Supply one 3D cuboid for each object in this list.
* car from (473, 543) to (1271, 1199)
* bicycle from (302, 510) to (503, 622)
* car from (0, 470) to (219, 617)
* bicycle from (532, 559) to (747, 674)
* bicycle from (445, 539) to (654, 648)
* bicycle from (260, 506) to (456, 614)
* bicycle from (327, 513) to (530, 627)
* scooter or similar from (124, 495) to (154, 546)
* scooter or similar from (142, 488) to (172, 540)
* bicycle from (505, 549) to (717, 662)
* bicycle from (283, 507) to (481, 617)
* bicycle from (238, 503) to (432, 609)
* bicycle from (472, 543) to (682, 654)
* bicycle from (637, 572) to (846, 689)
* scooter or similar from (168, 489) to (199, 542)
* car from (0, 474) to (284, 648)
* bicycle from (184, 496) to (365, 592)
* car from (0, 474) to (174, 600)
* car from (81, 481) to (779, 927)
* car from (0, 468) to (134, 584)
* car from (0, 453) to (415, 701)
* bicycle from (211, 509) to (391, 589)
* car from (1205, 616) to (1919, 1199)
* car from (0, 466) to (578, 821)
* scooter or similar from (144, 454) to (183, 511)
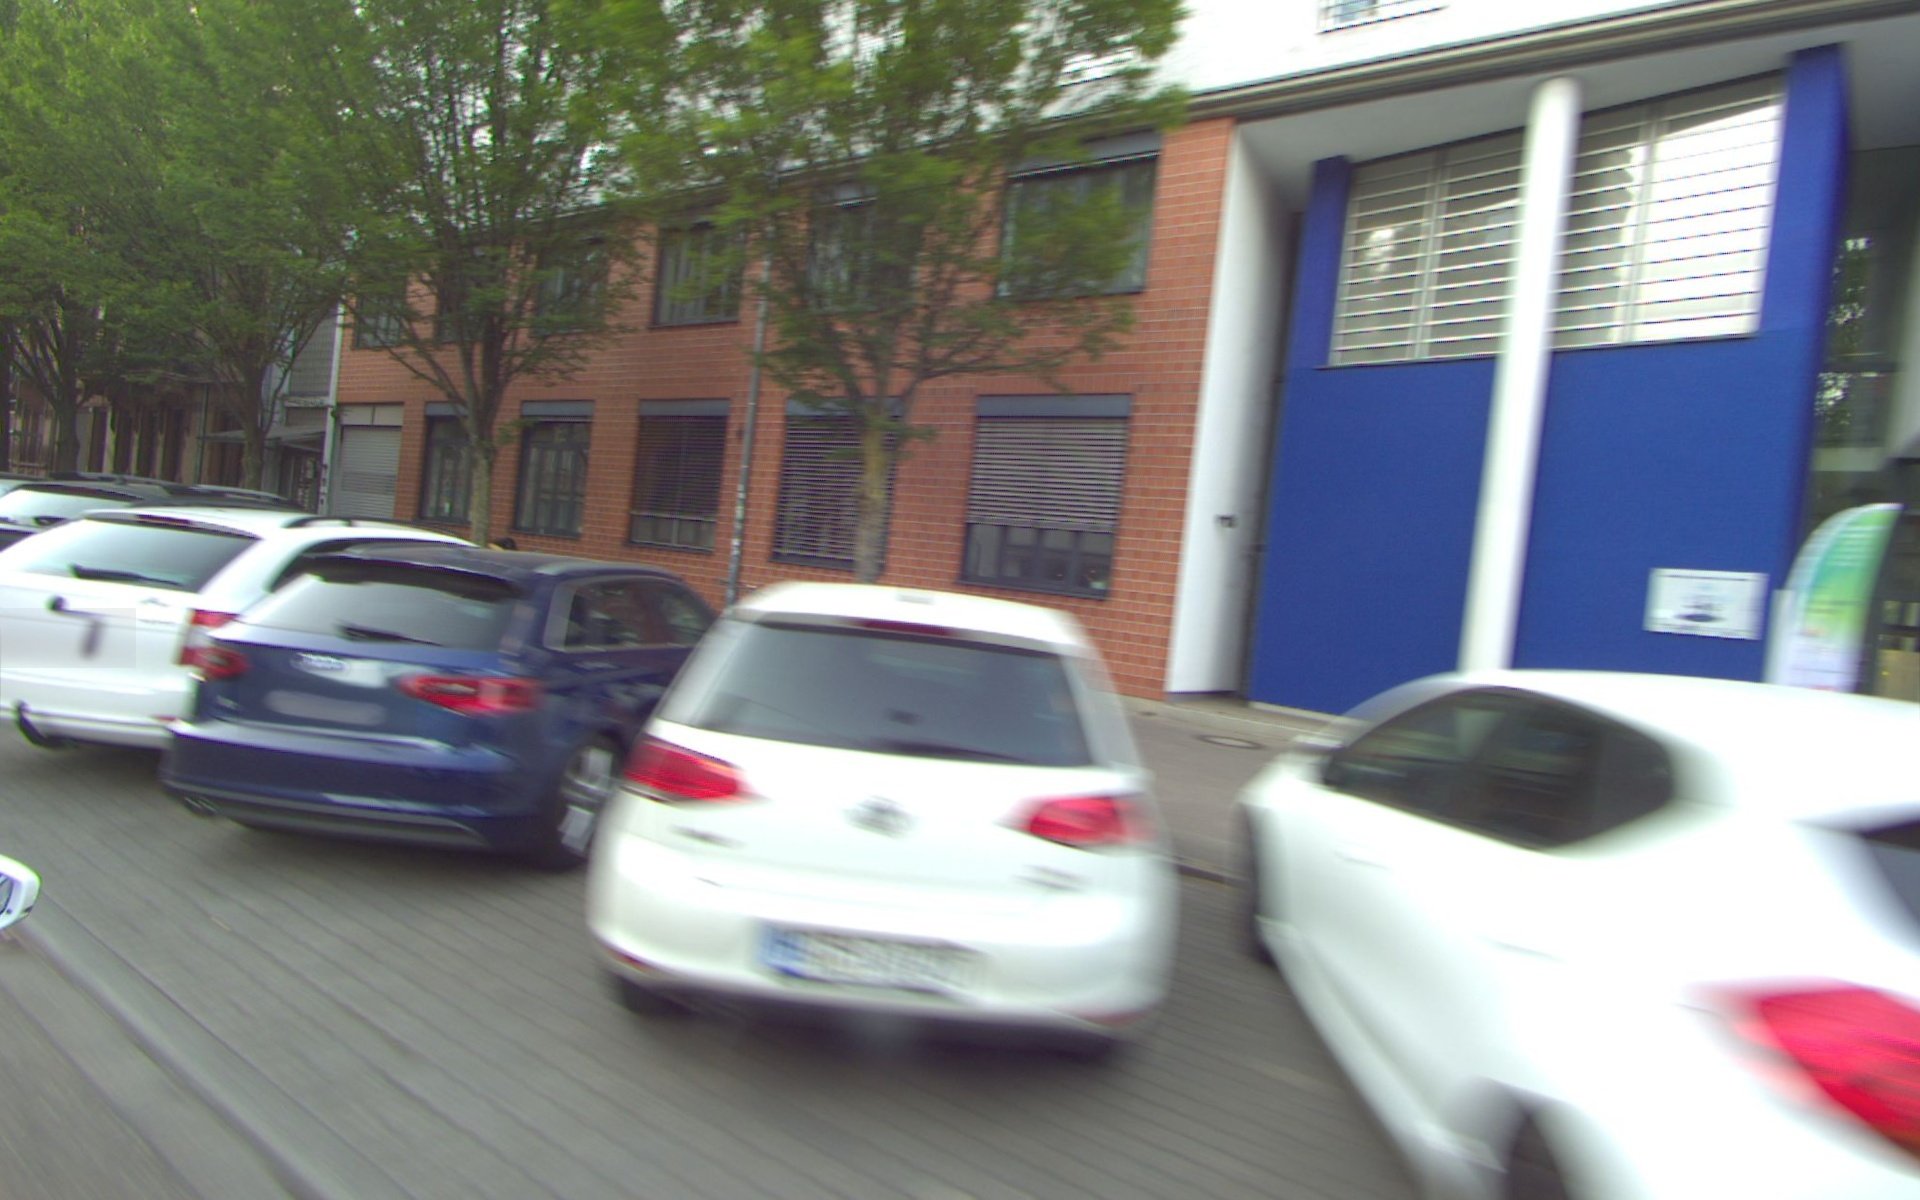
[{"bbox_3d":[-0.199,0.701,4.479,1.840,1.491,3.999,6,0,1],"label":"car"},{"bbox_3d":[-8.334,-0.466,15.183,0.590,1.396,2.534,8,0,36],"label":"bicycle"},{"bbox_3d":[-10.831,-0.673,11.611,1.533,1.553,3.606,7,0,6],"label":"car"},{"bbox_3d":[-3.769,0.250,12.109,0.553,1.181,2.534,8,0,36],"label":"bicycle"},{"bbox_3d":[-5.292,-0.038,13.195,0.553,1.181,2.534,8,0,36],"label":"bicycle"},{"bbox_3d":[-9.467,-0.587,15.956,0.590,1.396,2.534,8,0,36],"label":"bicycle"},{"bbox_3d":[-7.740,-0.392,14.814,0.590,1.396,2.534,8,0,36],"label":"bicycle"},{"bbox_3d":[-20.950,-2.023,25.681,0.366,1.234,1.606,3,3,-32],"label":"scooter or similar"},{"bbox_3d":[-20.178,-2.160,25.301,0.366,1.234,1.689,3,3,-32],"label":"scooter or similar"},{"bbox_3d":[-4.253,0.119,12.521,0.553,1.181,2.534,8,0,36],"label":"bicycle"},{"bbox_3d":[-8.855,-0.533,15.546,0.590,1.396,2.534,8,0,36],"label":"bicycle"},{"bbox_3d":[-10.051,-0.670,16.314,0.590,1.396,2.534,8,0,36],"label":"bicycle"},{"bbox_3d":[-4.805,0.028,12.849,0.553,1.181,2.534,8,0,36],"label":"bicycle"},{"bbox_3d":[-2.332,0.322,11.080,0.669,1.114,2.343,7,3,36],"label":"bicycle"},{"bbox_3d":[-19.159,-2.089,24.818,0.409,1.235,1.752,-1,6,-44],"label":"scooter or similar"},{"bbox_3d":[-8.968,-0.416,9.999,1.690,1.501,3.606,7,0,6],"label":"car"},{"bbox_3d":[-12.224,-0.964,18.049,0.590,1.396,2.534,8,0,36],"label":"bicycle"},{"bbox_3d":[-12.965,-0.918,12.905,1.773,1.553,4.388,7,0,10],"label":"car"},{"bbox_3d":[-2.413,0.407,5.857,1.677,1.542,4.000,6,0,3],"label":"car"},{"bbox_3d":[-15.089,-1.227,14.976,1.725,1.657,4.000,7,1,14],"label":"car"},{"bbox_3d":[-6.606,-0.207,8.669,1.684,1.600,3.604,7,0,1],"label":"car"},{"bbox_3d":[-11.208,-0.845,17.211,0.590,1.263,2.529,7,5,36],"label":"bicycle"},{"bbox_3d":[2.036,0.925,3.038,1.737,1.525,4.000,7,0,4],"label":"car"},{"bbox_3d":[-4.304,0.180,6.774,1.605,1.556,4.000,7,0,3],"label":"car"},{"bbox_3d":[-18.274,-2.683,23.076,0.464,1.236,1.752,-4,8,-44],"label":"scooter or similar"}]
